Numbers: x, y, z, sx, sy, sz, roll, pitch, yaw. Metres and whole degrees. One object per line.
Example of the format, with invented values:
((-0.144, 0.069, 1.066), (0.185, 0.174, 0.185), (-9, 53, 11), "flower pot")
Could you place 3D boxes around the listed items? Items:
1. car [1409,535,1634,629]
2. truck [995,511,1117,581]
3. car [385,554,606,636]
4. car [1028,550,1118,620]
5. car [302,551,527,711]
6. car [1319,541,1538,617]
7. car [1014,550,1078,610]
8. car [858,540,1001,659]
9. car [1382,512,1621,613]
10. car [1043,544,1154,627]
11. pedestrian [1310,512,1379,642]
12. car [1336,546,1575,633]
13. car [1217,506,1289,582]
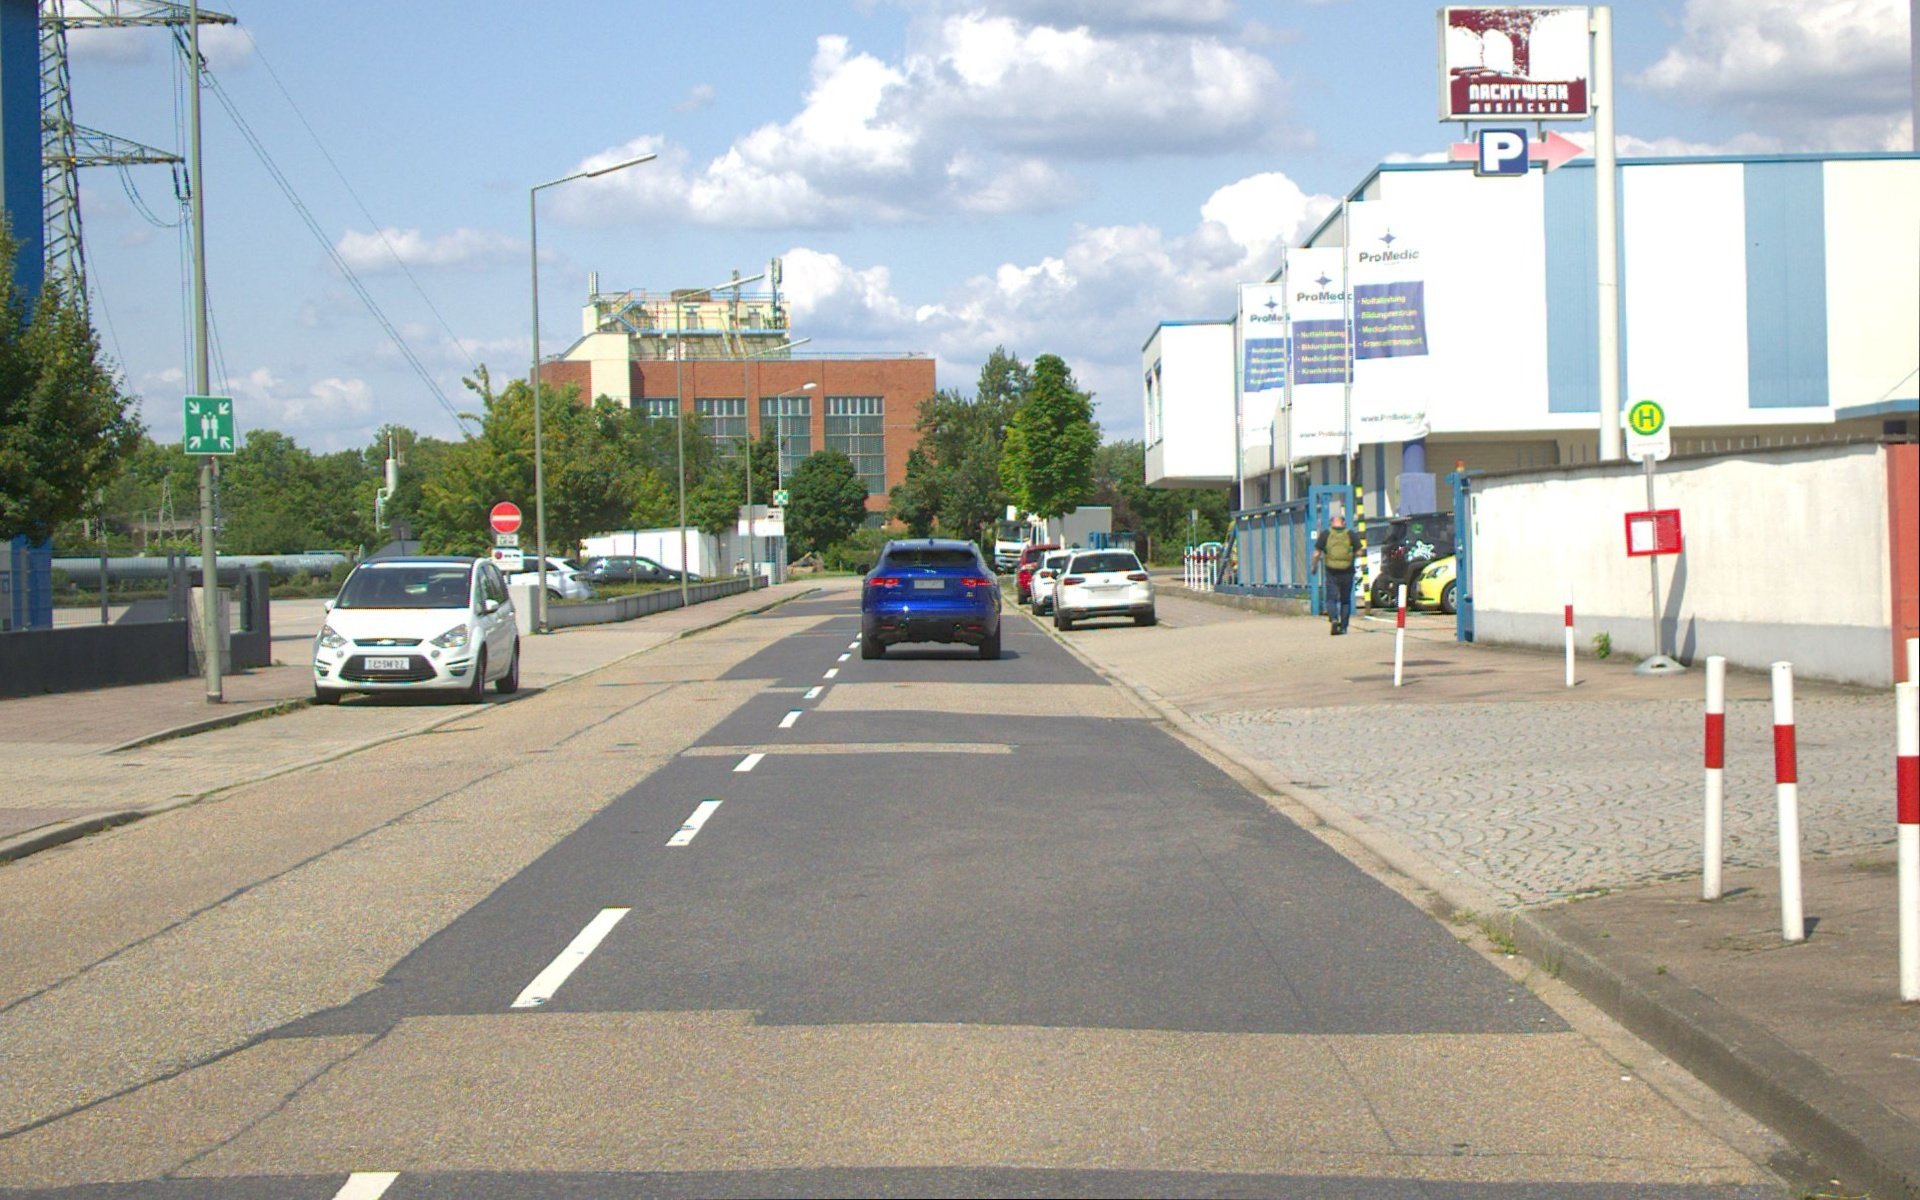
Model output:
((9.266, -0.301, 56.916), (3.403, 1.485, 1.791), (-1, 1, 0), "car")
((5.199, -2.939, 183.665), (2.325, 3.555, 9.352), (1, 3, 30), "truck")
((-10.452, -0.124, 77.616), (4.754, 1.597, 2.000), (-3, 1, -3), "car")
((2.545, -0.354, 78.402), (1.835, 1.515, 4.461), (-1, 1, -1), "car")
((-6.142, 0.309, 39.206), (1.867, 1.702, 4.753), (0, 1, -1), "car")
((9.734, -0.456, 71.660), (4.279, 1.415, 2.000), (-2, 1, 1), "car")
((2.436, -0.585, 97.196), (1.755, 1.645, 4.677), (-1, 1, 2), "car")
((-0.447, -0.030, 48.794), (1.909, 1.588, 4.701), (-1, 1, -1), "car")
((9.294, -0.648, 59.237), (3.806, 1.674, 1.791), (-1, 1, 0), "car")
((2.615, -0.298, 65.813), (1.867, 1.515, 4.598), (-1, 1, -1), "car")
((5.350, -0.326, 47.929), (0.769, 1.750, 0.787), (-3, 0, -1), "pedestrian")
((8.900, -0.203, 61.992), (3.987, 1.415, 2.000), (-2, 1, 1), "car")
((9.764, -1.855, 114.928), (1.924, 2.455, 5.260), (-1, 1, 0), "car")
